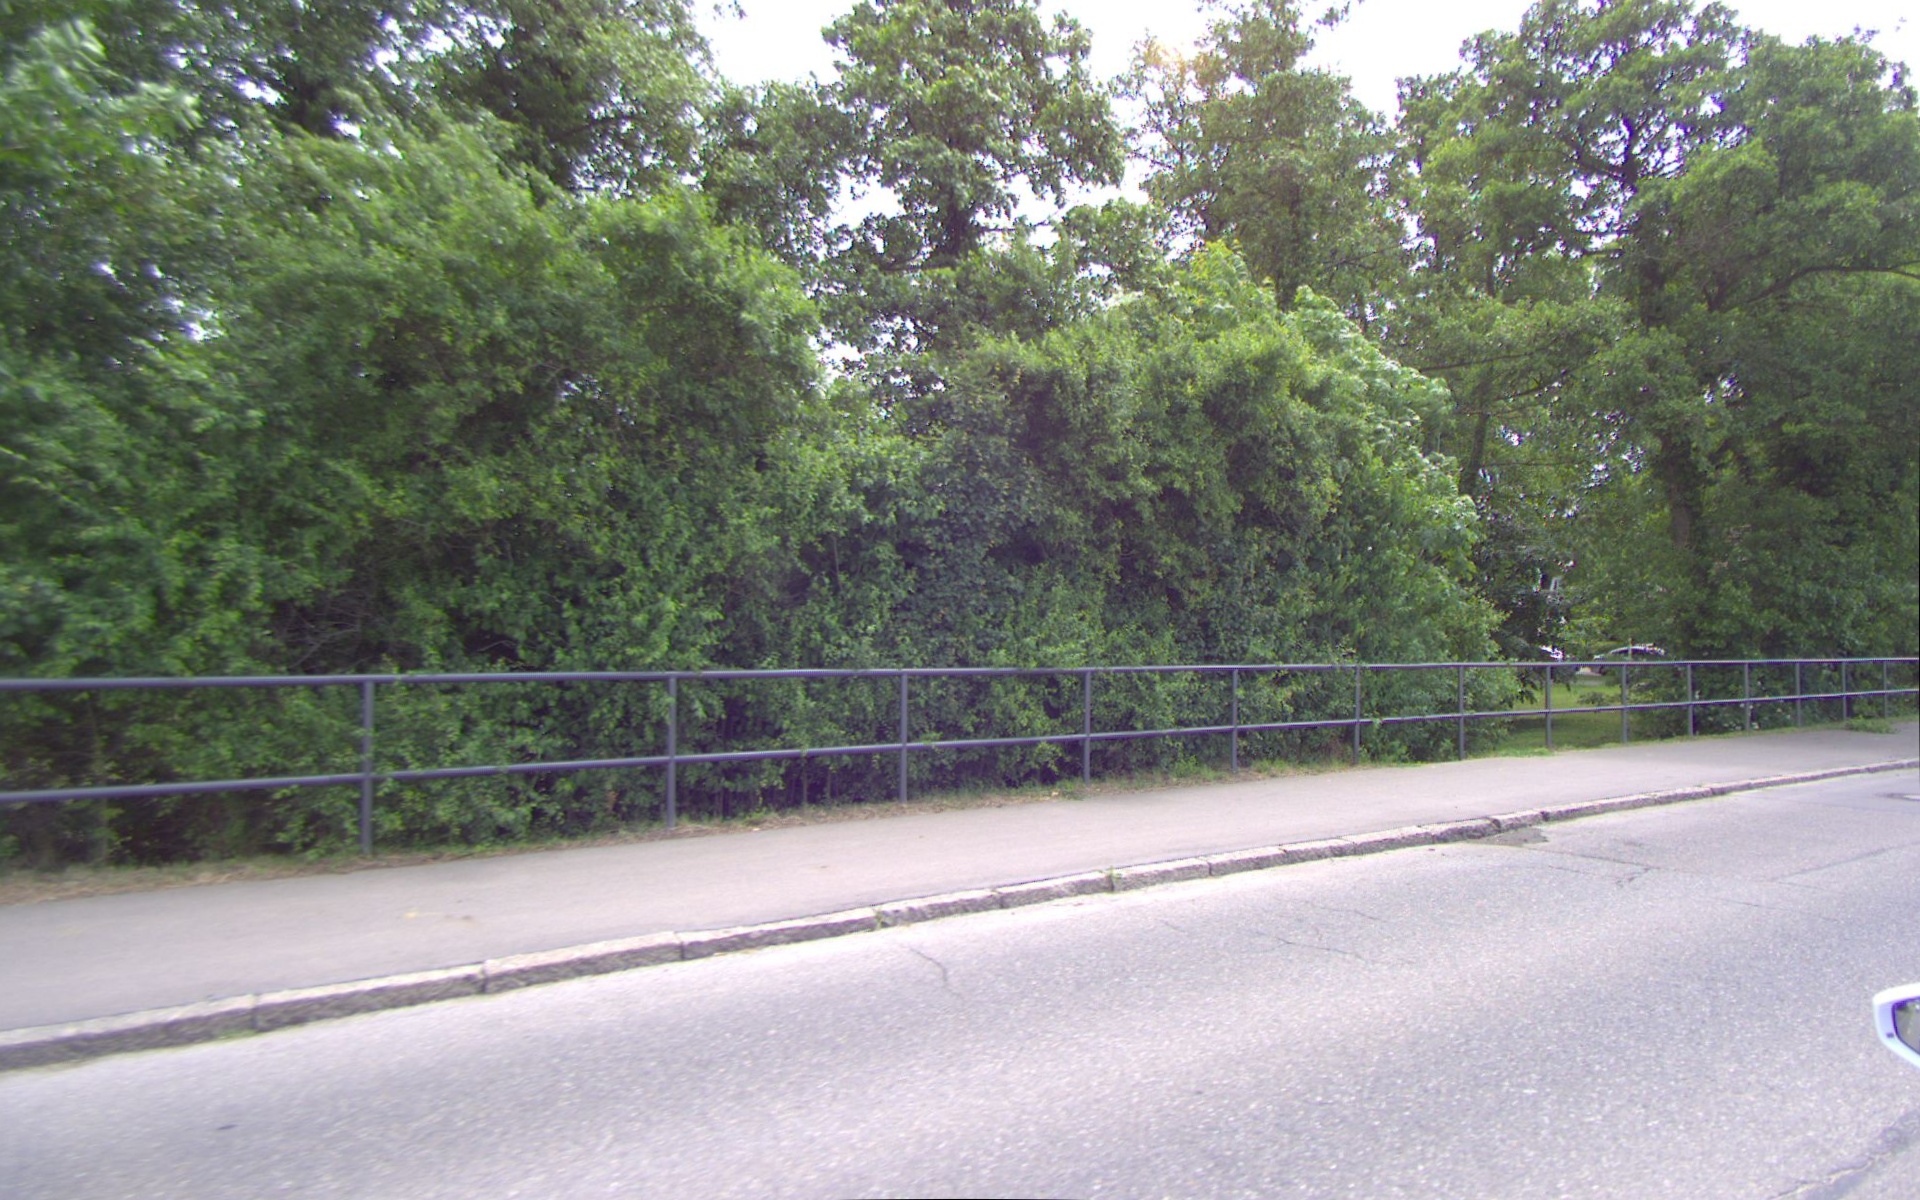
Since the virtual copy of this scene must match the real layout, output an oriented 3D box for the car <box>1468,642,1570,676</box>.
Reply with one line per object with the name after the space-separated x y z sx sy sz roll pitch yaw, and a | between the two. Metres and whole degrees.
26.969 2.821 48.561 1.930 1.499 3.976 1 -2 -25 | car
